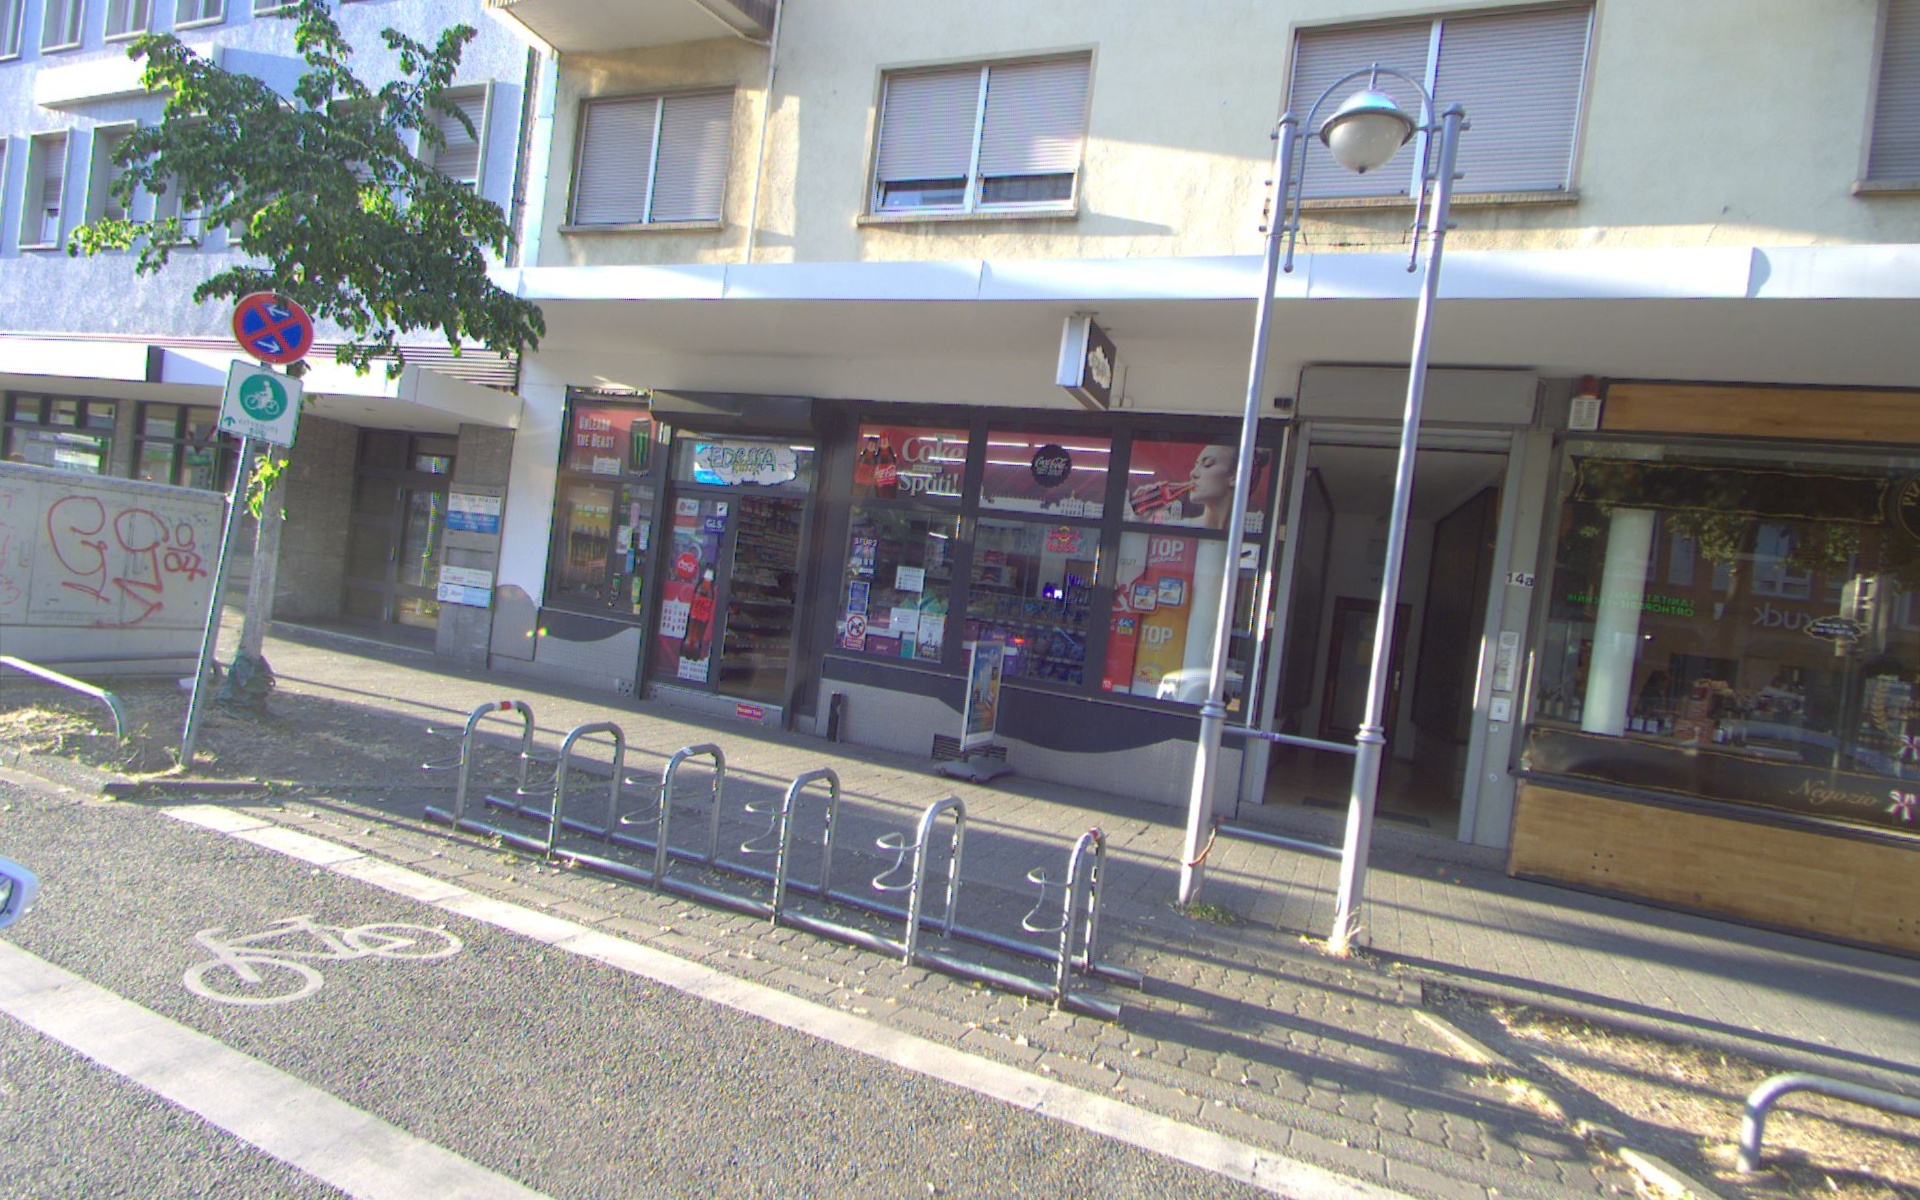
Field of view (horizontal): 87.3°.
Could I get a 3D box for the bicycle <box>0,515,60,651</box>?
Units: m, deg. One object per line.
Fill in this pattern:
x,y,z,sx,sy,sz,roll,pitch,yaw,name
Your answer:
-9.198,-0.208,9.096,0.376,1.234,1.446,7,-1,25,bicycle

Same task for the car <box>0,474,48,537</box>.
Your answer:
-28.773,-2.916,28.559,1.773,1.728,4.290,8,0,-2,car
